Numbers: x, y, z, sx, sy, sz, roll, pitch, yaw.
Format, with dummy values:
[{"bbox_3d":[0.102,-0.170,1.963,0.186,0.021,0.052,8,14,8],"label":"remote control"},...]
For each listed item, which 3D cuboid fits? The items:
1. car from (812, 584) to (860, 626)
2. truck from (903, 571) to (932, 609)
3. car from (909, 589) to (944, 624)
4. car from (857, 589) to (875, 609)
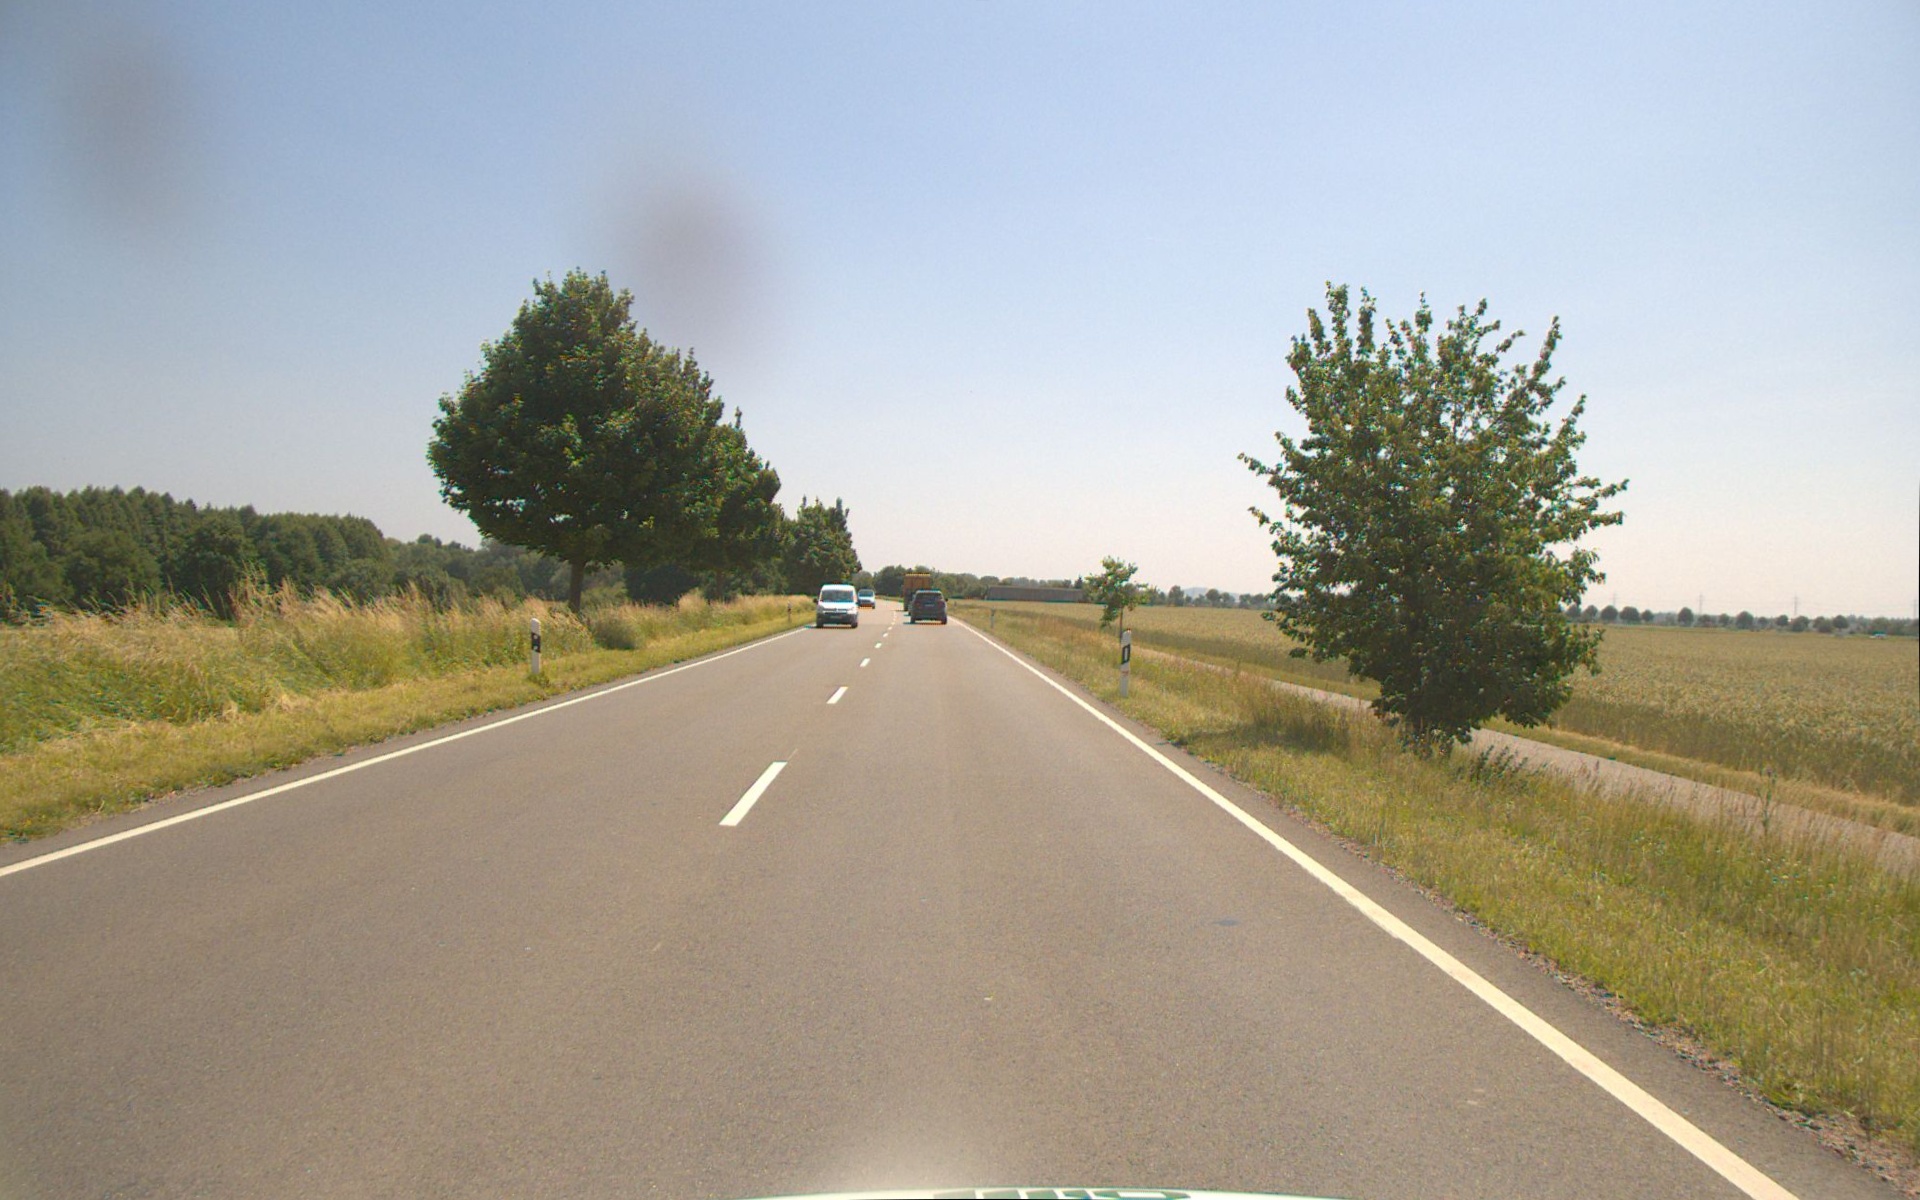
[{"bbox_3d":[-5.347,0.225,71.724,1.750,1.759,4.303,1,0,-1],"label":"car"},{"bbox_3d":[-3.761,-0.818,144.549,2.323,3.195,8.742,1,0,-3],"label":"truck"},{"bbox_3d":[-1.700,0.349,84.759,1.679,1.723,3.988,1,0,0],"label":"car"},{"bbox_3d":[-8.921,-0.093,157.586,1.691,1.872,3.997,1,0,-3],"label":"car"}]
